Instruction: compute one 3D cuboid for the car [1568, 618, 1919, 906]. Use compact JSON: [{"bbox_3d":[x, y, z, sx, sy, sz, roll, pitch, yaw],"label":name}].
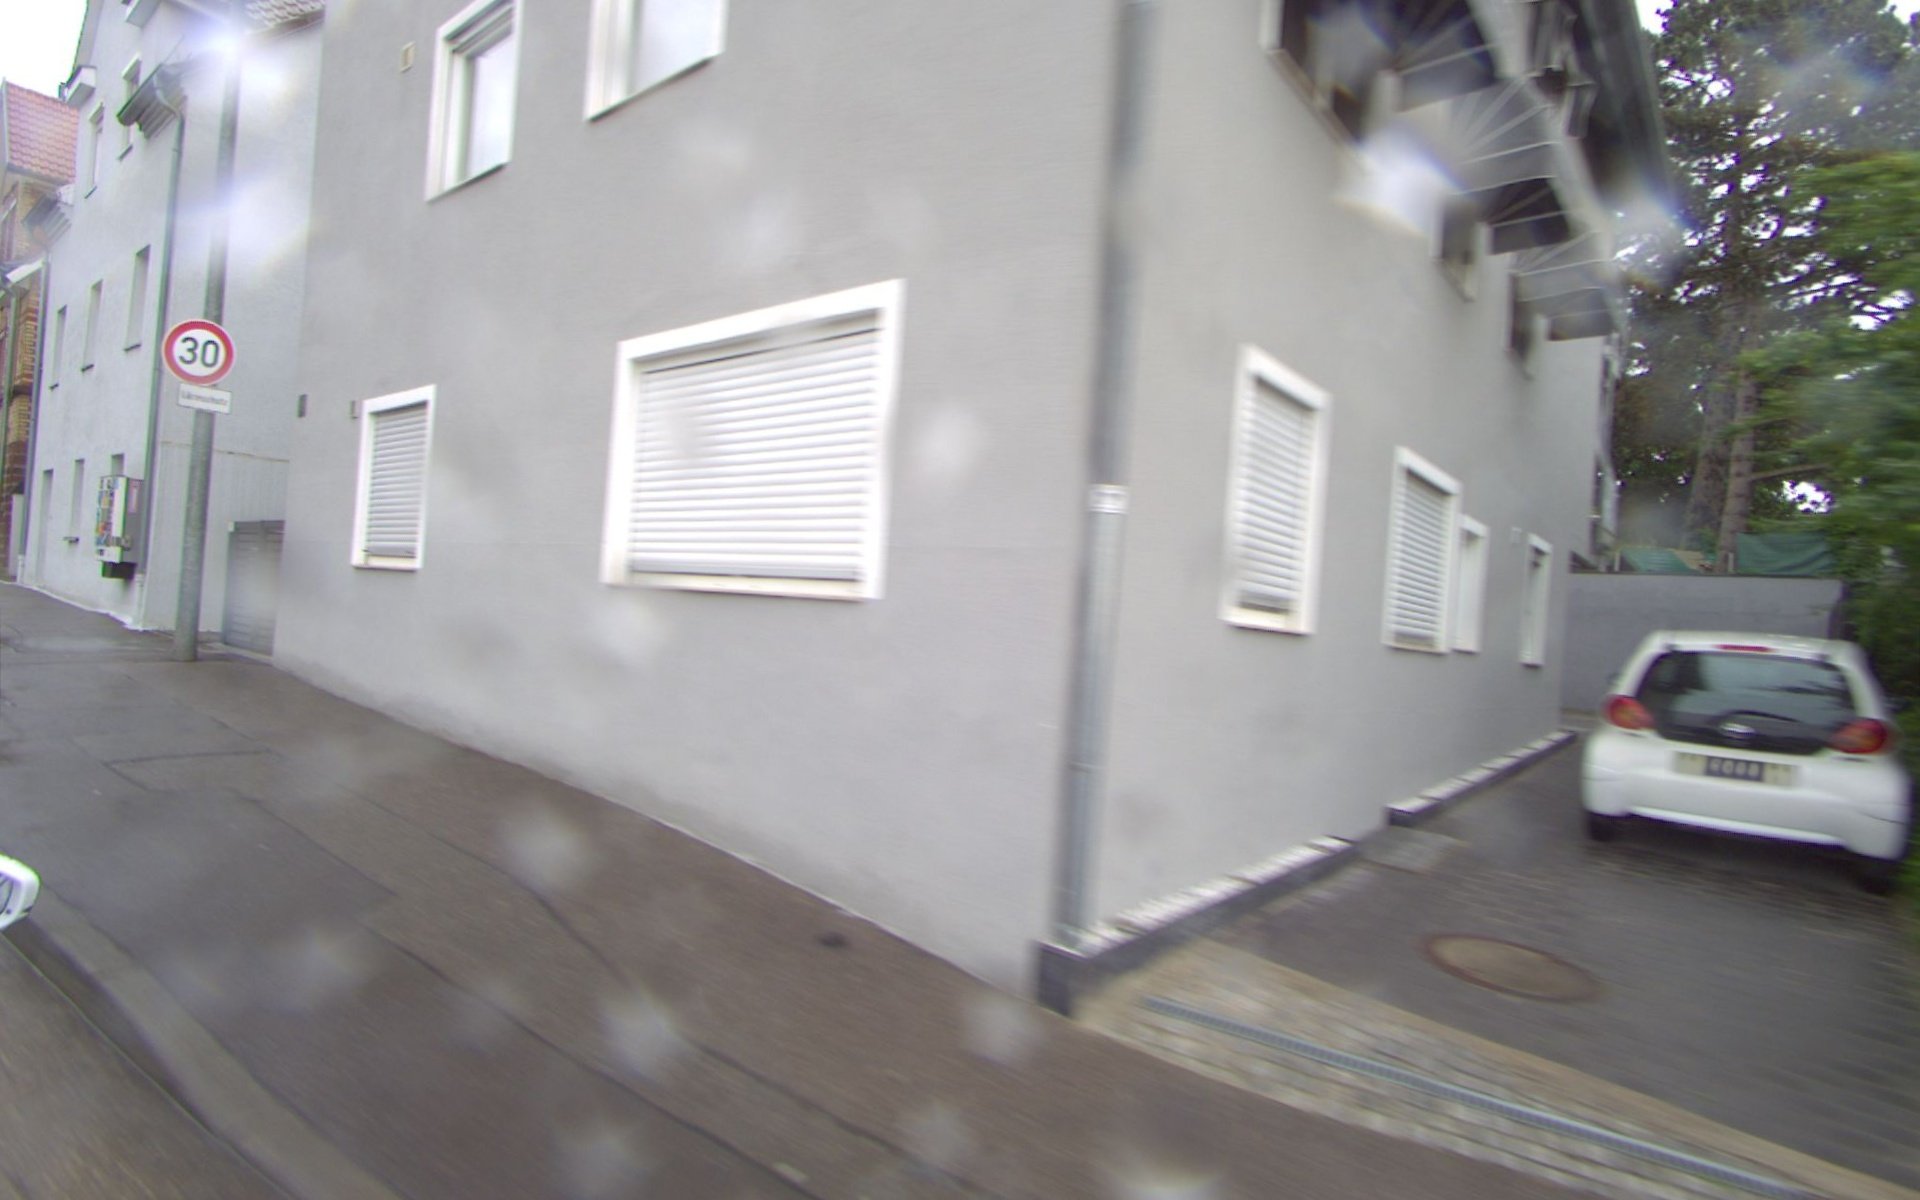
[{"bbox_3d":[5.842,0.989,7.488,1.613,1.474,3.558,6,2,40],"label":"car"}]
